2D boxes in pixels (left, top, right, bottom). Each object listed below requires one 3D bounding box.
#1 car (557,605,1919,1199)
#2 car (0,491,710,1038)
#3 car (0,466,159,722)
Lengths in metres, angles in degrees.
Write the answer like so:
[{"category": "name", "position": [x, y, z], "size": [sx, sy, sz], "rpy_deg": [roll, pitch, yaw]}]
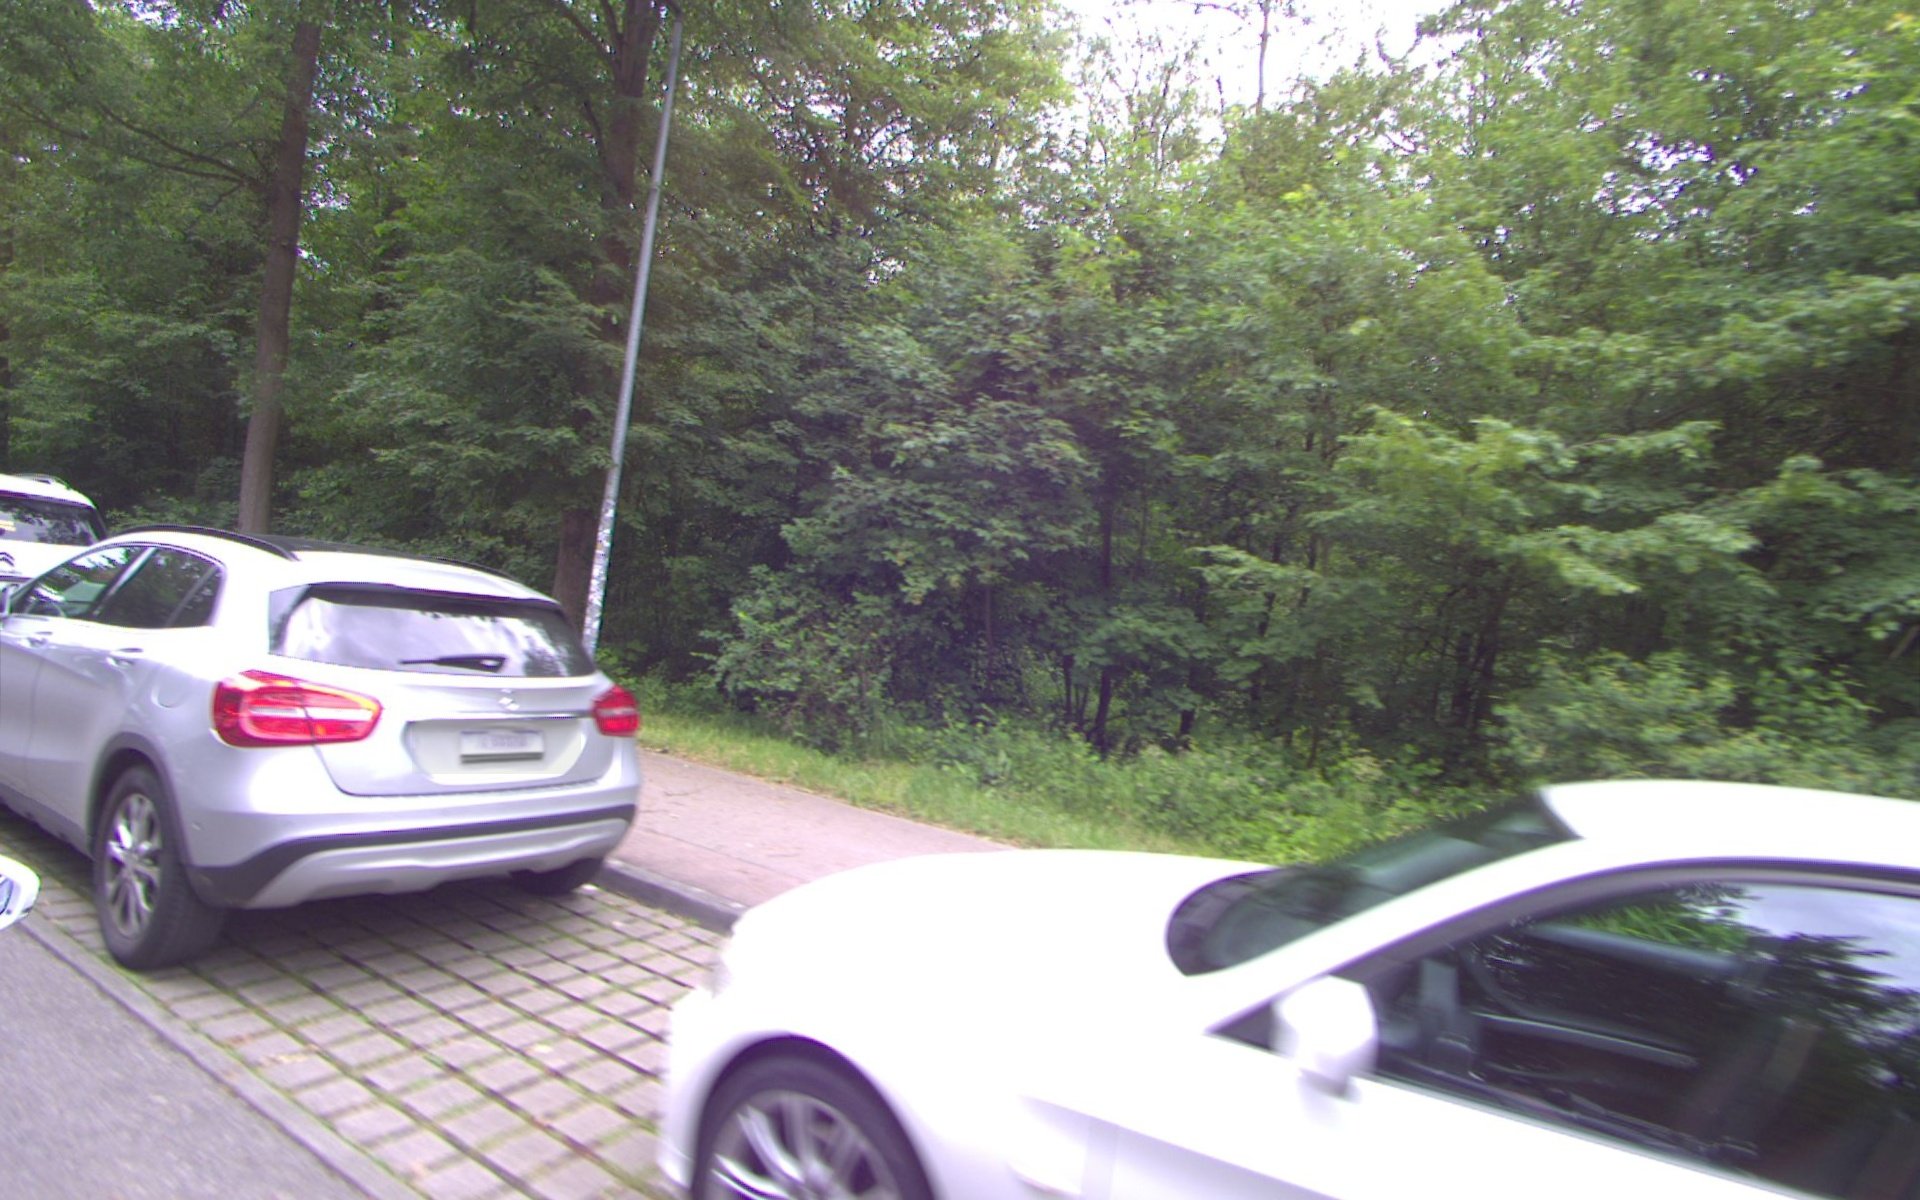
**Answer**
[{"category": "car", "position": [1.428, 1.025, 1.894], "size": [4.355, 1.423, 1.739], "rpy_deg": [7, -2, 33]}, {"category": "car", "position": [-3.606, 0.383, 4.924], "size": [4.691, 1.496, 1.739], "rpy_deg": [7, -2, 33]}, {"category": "car", "position": [-8.392, -0.289, 7.816], "size": [4.989, 1.662, 1.739], "rpy_deg": [7, -2, 33]}]
